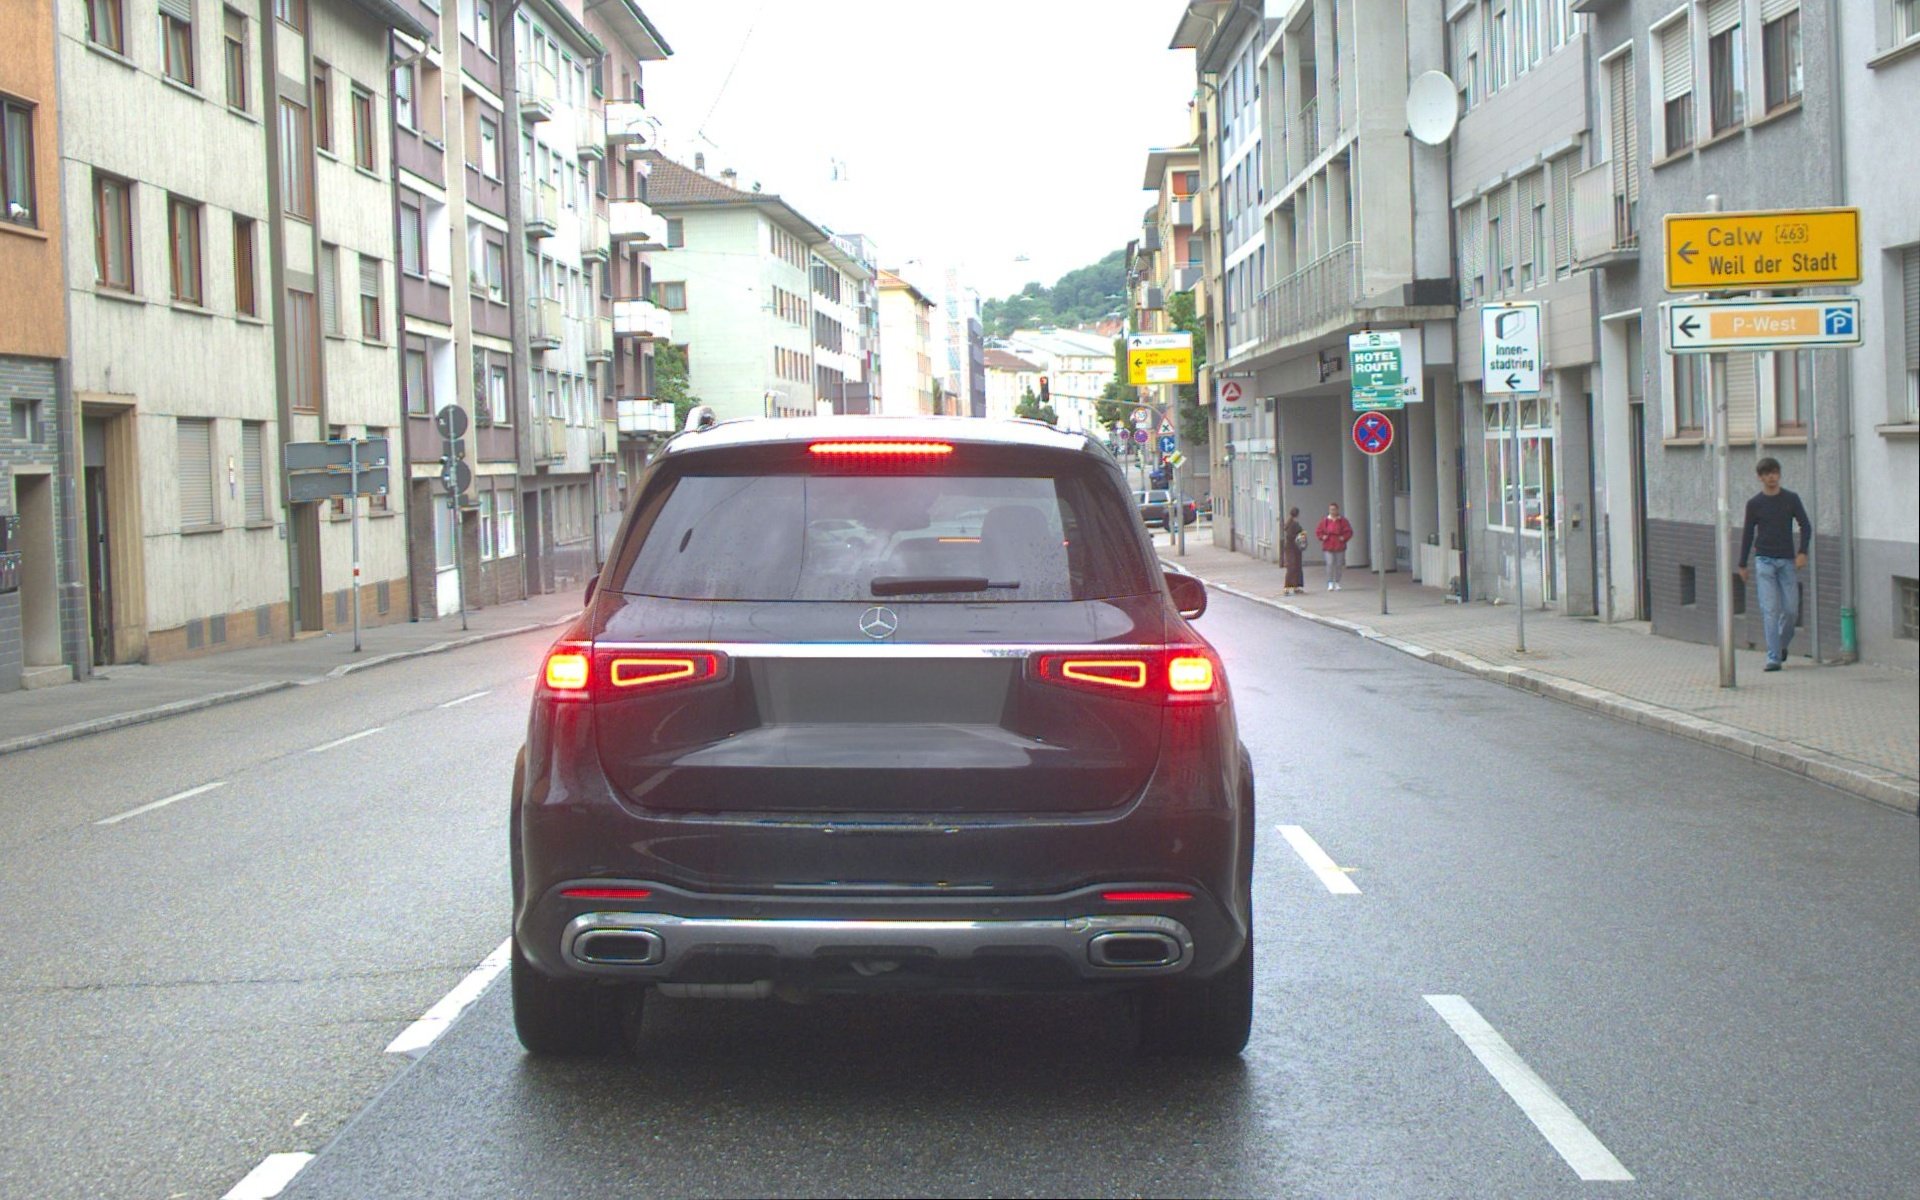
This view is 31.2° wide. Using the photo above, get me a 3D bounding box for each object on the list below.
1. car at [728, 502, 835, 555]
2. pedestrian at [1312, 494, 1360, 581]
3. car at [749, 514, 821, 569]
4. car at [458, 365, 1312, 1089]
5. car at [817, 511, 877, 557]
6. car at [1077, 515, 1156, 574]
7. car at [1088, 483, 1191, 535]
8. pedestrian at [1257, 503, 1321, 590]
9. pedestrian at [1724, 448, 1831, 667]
[{"bbox_3d":[-6.966,-2.793,134.410,3.987,2.006,2.000,0,2,3],"label":"car"},{"bbox_3d":[6.843,-1.137,62.620,0.821,1.560,0.899,0,2,3],"label":"pedestrian"},{"bbox_3d":[-4.919,-1.662,97.090,1.891,1.453,4.550,-1,2,-1],"label":"car"},{"bbox_3d":[-0.208,0.225,10.726,2.076,1.759,4.612,-1,2,-1],"label":"car"},{"bbox_3d":[-3.768,-2.218,115.372,1.891,1.453,4.550,0,2,-1],"label":"car"},{"bbox_3d":[3.919,-1.412,86.617,1.734,1.383,4.583,0,2,-1],"label":"car"},{"bbox_3d":[7.042,-3.570,134.628,3.987,2.006,2.000,0,2,3],"label":"car"},{"bbox_3d":[5.992,-0.988,62.656,0.820,1.560,0.900,-1,2,-22],"label":"pedestrian"},{"bbox_3d":[6.752,-0.359,28.419,0.655,1.746,0.741,-4,1,6],"label":"pedestrian"}]
